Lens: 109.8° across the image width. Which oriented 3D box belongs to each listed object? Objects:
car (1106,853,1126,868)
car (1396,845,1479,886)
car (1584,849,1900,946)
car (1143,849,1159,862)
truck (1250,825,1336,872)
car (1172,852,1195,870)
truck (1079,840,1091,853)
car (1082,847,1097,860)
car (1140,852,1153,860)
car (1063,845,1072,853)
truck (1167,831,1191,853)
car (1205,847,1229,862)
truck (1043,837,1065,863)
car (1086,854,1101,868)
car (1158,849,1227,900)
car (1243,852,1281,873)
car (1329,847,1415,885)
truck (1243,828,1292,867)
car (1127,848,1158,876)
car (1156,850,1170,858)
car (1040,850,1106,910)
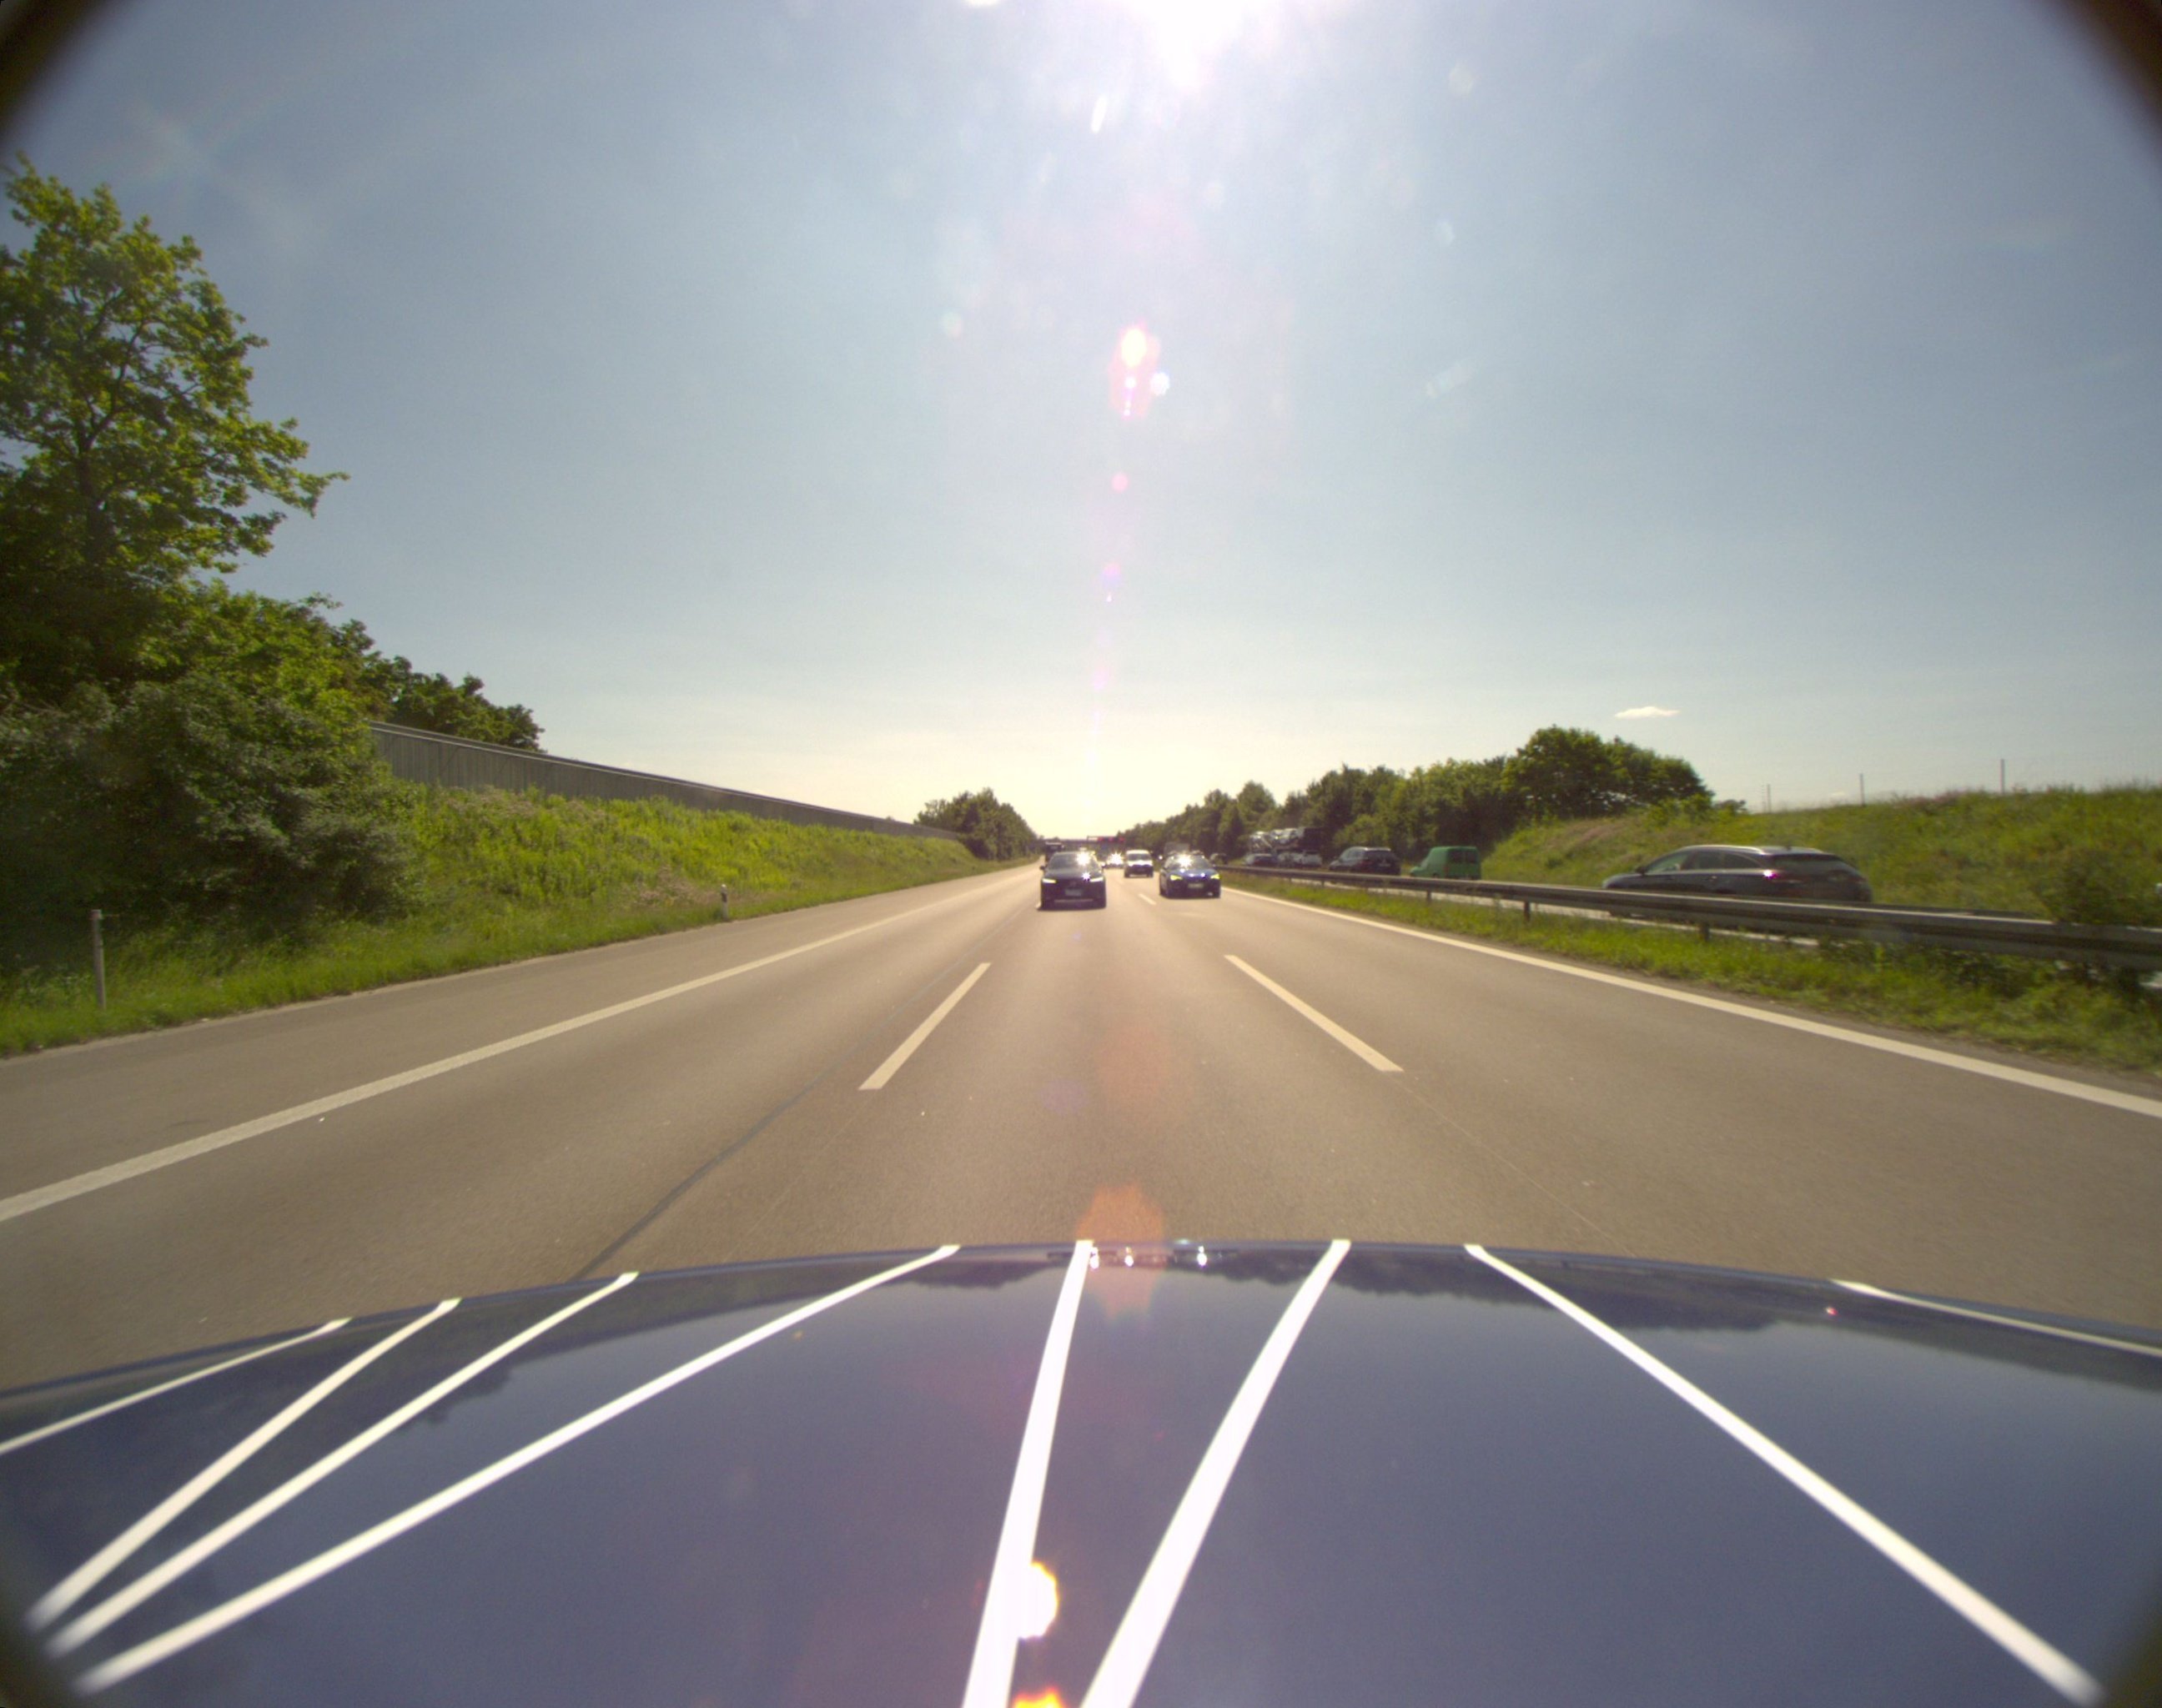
[{"bbox_3d":[3.809,0.704,82.715,1.999,1.540,3.999,-1,1,0],"label":"car"},{"bbox_3d":[16.624,0.485,35.681,1.819,1.798,4.381,-1,0,0],"label":"car"},{"bbox_3d":[11.900,0.672,14.237,1.916,1.508,4.616,0,0,0],"label":"car"},{"bbox_3d":[11.522,0.222,125.404,2.095,1.934,5.688,-1,0,0],"label":"car"},{"bbox_3d":[20.017,-0.536,73.420,3.220,4.026,16.671,0,0,-1],"label":"truck"},{"bbox_3d":[11.938,0.780,88.554,1.998,2.002,4.912,-1,1,0],"label":"car"},{"bbox_3d":[1.081,-2.130,214.311,3.243,3.684,10.932,0,1,-2],"label":"truck"},{"bbox_3d":[1.941,-0.154,176.199,3.243,3.094,7.602,0,1,-2],"label":"car"},{"bbox_3d":[11.837,0.417,138.217,1.879,1.431,5.017,-1,0,0],"label":"car"},{"bbox_3d":[-3.078,-1.168,176.949,1.998,1.856,4.228,0,0,2],"label":"car"},{"bbox_3d":[19.163,-2.365,149.750,2.679,4.055,13.957,1,0,-1],"label":"truck"},{"bbox_3d":[15.836,0.039,88.476,1.998,1.604,4.580,0,0,0],"label":"car"},{"bbox_3d":[-3.751,-0.567,105.891,2.966,3.388,8.045,0,1,-2],"label":"truck"},{"bbox_3d":[1.621,0.897,95.978,1.743,1.630,3.844,0,1,2],"label":"car"},{"bbox_3d":[3.882,0.667,27.133,1.904,1.616,4.240,-1,0,1],"label":"car"},{"bbox_3d":[12.416,0.564,52.324,1.720,1.382,4.000,0,0,0],"label":"car"},{"bbox_3d":[12.247,0.468,32.283,1.916,1.508,4.616,0,0,0],"label":"car"},{"bbox_3d":[19.843,-0.660,81.385,3.249,4.026,7.393,0,0,-1],"label":"truck"},{"bbox_3d":[4.068,0.531,50.960,1.870,1.713,3.980,-1,1,2],"label":"car"},{"bbox_3d":[15.257,-0.066,141.781,1.999,1.501,5.207,-1,0,-1],"label":"car"},{"bbox_3d":[-0.194,0.732,23.469,1.812,1.648,4.000,-2,0,1],"label":"car"}]
